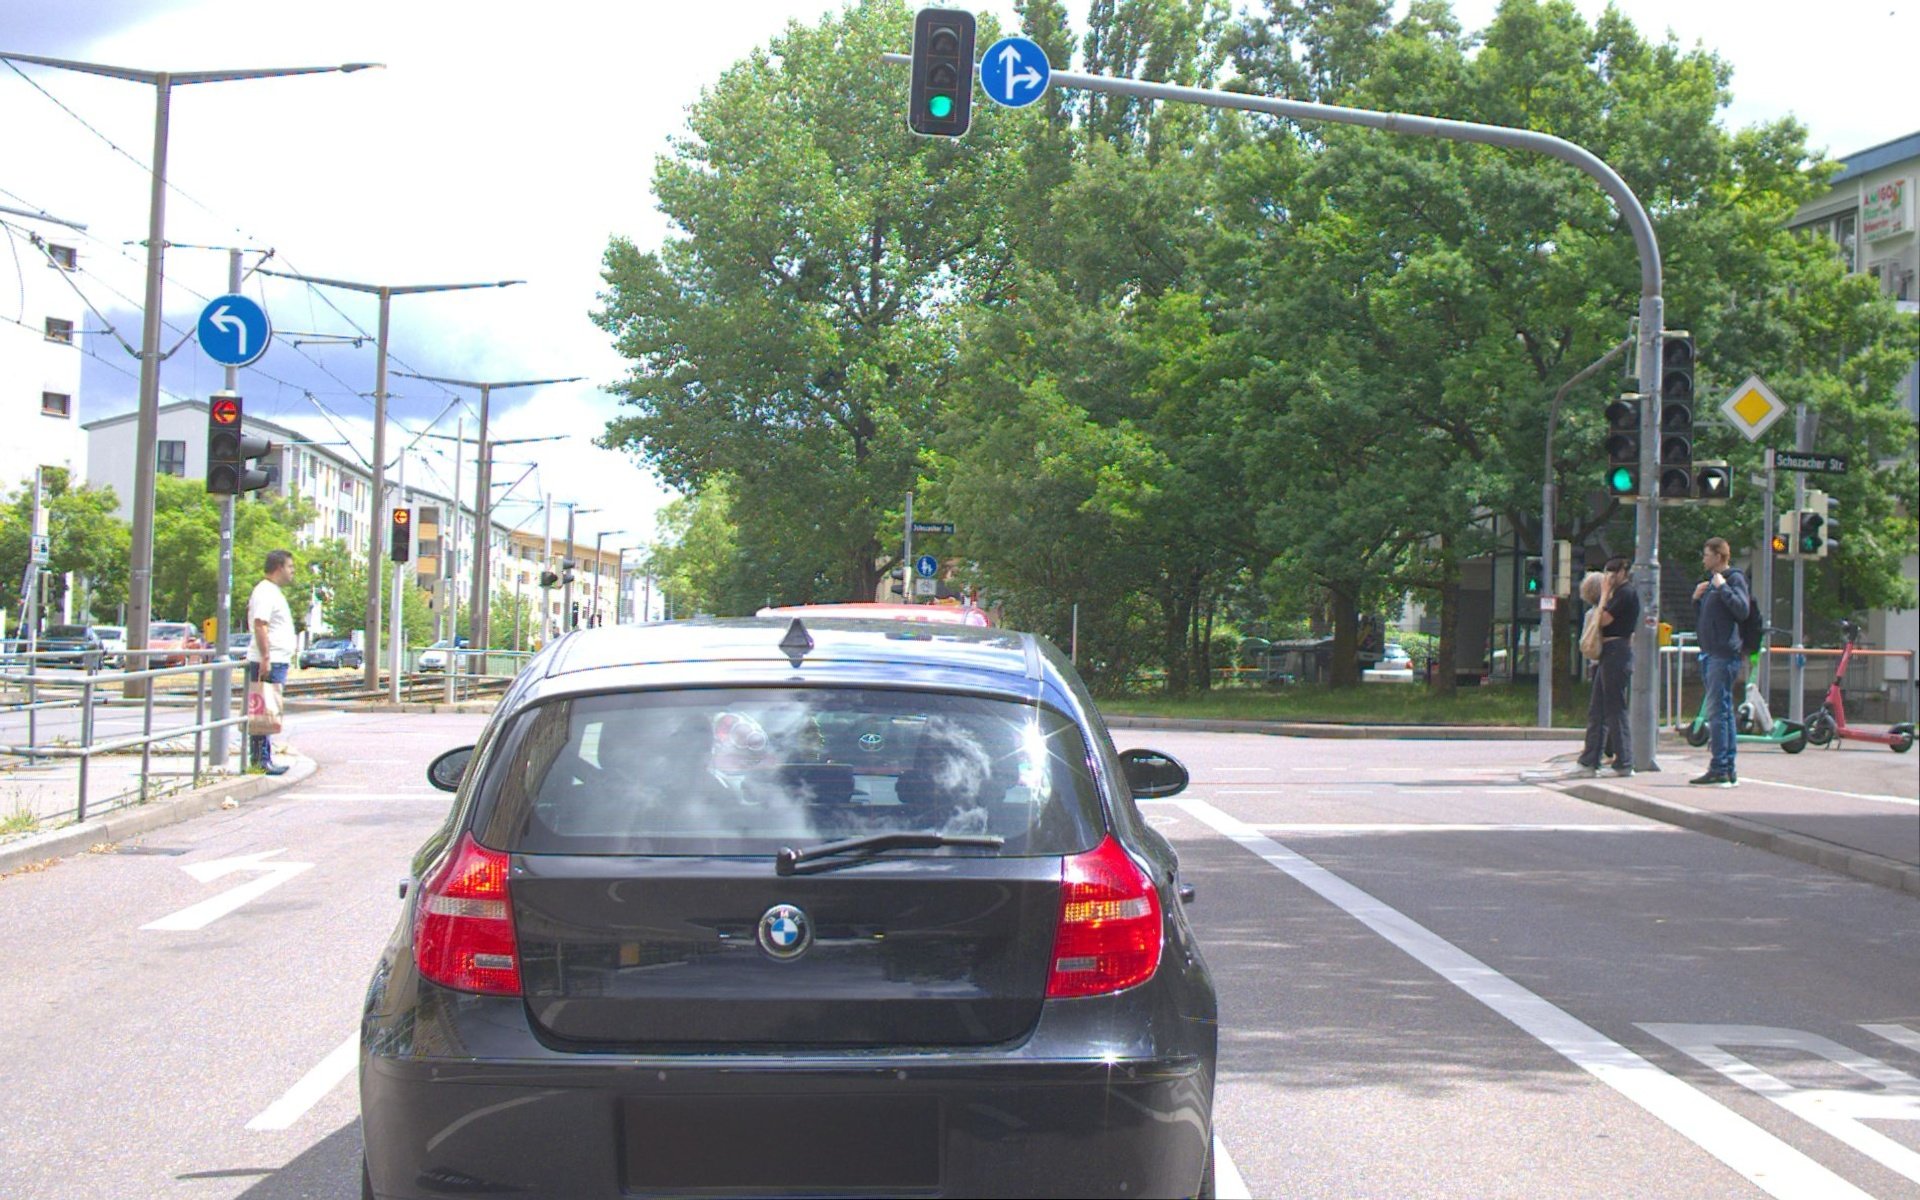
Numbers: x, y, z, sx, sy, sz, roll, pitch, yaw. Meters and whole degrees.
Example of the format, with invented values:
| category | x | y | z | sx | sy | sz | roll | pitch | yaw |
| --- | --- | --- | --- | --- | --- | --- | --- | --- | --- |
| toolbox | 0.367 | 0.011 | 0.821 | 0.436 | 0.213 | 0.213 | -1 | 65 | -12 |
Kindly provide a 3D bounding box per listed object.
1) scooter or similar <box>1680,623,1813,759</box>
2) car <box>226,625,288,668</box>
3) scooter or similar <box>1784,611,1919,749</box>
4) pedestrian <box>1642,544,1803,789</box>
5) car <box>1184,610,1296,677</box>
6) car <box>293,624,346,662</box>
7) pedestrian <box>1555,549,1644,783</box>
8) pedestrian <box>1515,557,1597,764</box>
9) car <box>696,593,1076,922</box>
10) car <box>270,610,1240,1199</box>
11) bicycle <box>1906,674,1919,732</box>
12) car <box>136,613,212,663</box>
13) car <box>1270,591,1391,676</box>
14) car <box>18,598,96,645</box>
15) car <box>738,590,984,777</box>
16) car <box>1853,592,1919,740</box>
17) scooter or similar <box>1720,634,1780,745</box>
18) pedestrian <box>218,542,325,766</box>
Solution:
| category | x | y | z | sx | sy | sz | roll | pitch | yaw |
| --- | --- | --- | --- | --- | --- | --- | --- | --- | --- |
| scooter or similar | 7.356 | 0.843 | 32.166 | 1.110 | 1.231 | 0.539 | 1 | 0 | 2 |
| car | -26.289 | 1.726 | 128.632 | 1.651 | 1.529 | 3.872 | 1 | 0 | -2 |
| scooter or similar | 8.606 | 0.764 | 33.150 | 1.150 | 1.268 | 0.555 | 2 | 0 | 2 |
| pedestrian | 5.940 | 0.511 | 26.819 | 1.010 | 1.870 | 0.798 | 1 | 0 | -4 |
| car | 7.299 | 1.115 | 89.928 | 1.862 | 1.656 | 4.001 | 1 | 0 | -11 |
| car | -27.585 | 1.847 | 148.218 | 1.651 | 1.529 | 3.872 | 1 | 0 | -2 |
| pedestrian | 5.191 | 0.531 | 27.926 | 0.636 | 1.870 | 0.518 | 1 | 0 | 6 |
| pedestrian | 5.152 | 0.516 | 29.744 | 0.636 | 1.760 | 0.518 | 1 | 0 | 6 |
| car | -0.341 | 0.686 | 16.740 | 1.638 | 1.395 | 3.420 | 1 | 0 | -1 |
| car | -0.382 | 0.750 | 7.802 | 1.700 | 1.395 | 3.420 | 1 | 0 | -1 |
| bicycle | 10.860 | 1.129 | 36.527 | 0.533 | 0.608 | 1.590 | 2 | 0 | -33 |
| car | -25.285 | 1.199 | 110.667 | 1.651 | 1.529 | 3.872 | 1 | 0 | -2 |
| car | 8.474 | 0.754 | 79.021 | 1.726 | 1.865 | 4.001 | 1 | 0 | -9 |
| car | -29.209 | 0.680 | 111.259 | 1.591 | 1.469 | 3.775 | 1 | 0 | -2 |
| car | -0.797 | 0.648 | 29.171 | 1.900 | 1.417 | 4.539 | 1 | 0 | -1 |
| car | 15.112 | 0.929 | 48.272 | 4.534 | 2.007 | 2.000 | 1 | 0 | -7 |
| scooter or similar | 7.858 | 0.880 | 34.184 | 0.548 | 1.060 | 1.261 | 1 | 0 | 13 |
| pedestrian | -5.391 | 0.417 | 26.947 | 0.687 | 1.728 | 0.687 | 0 | 0 | -1 |
